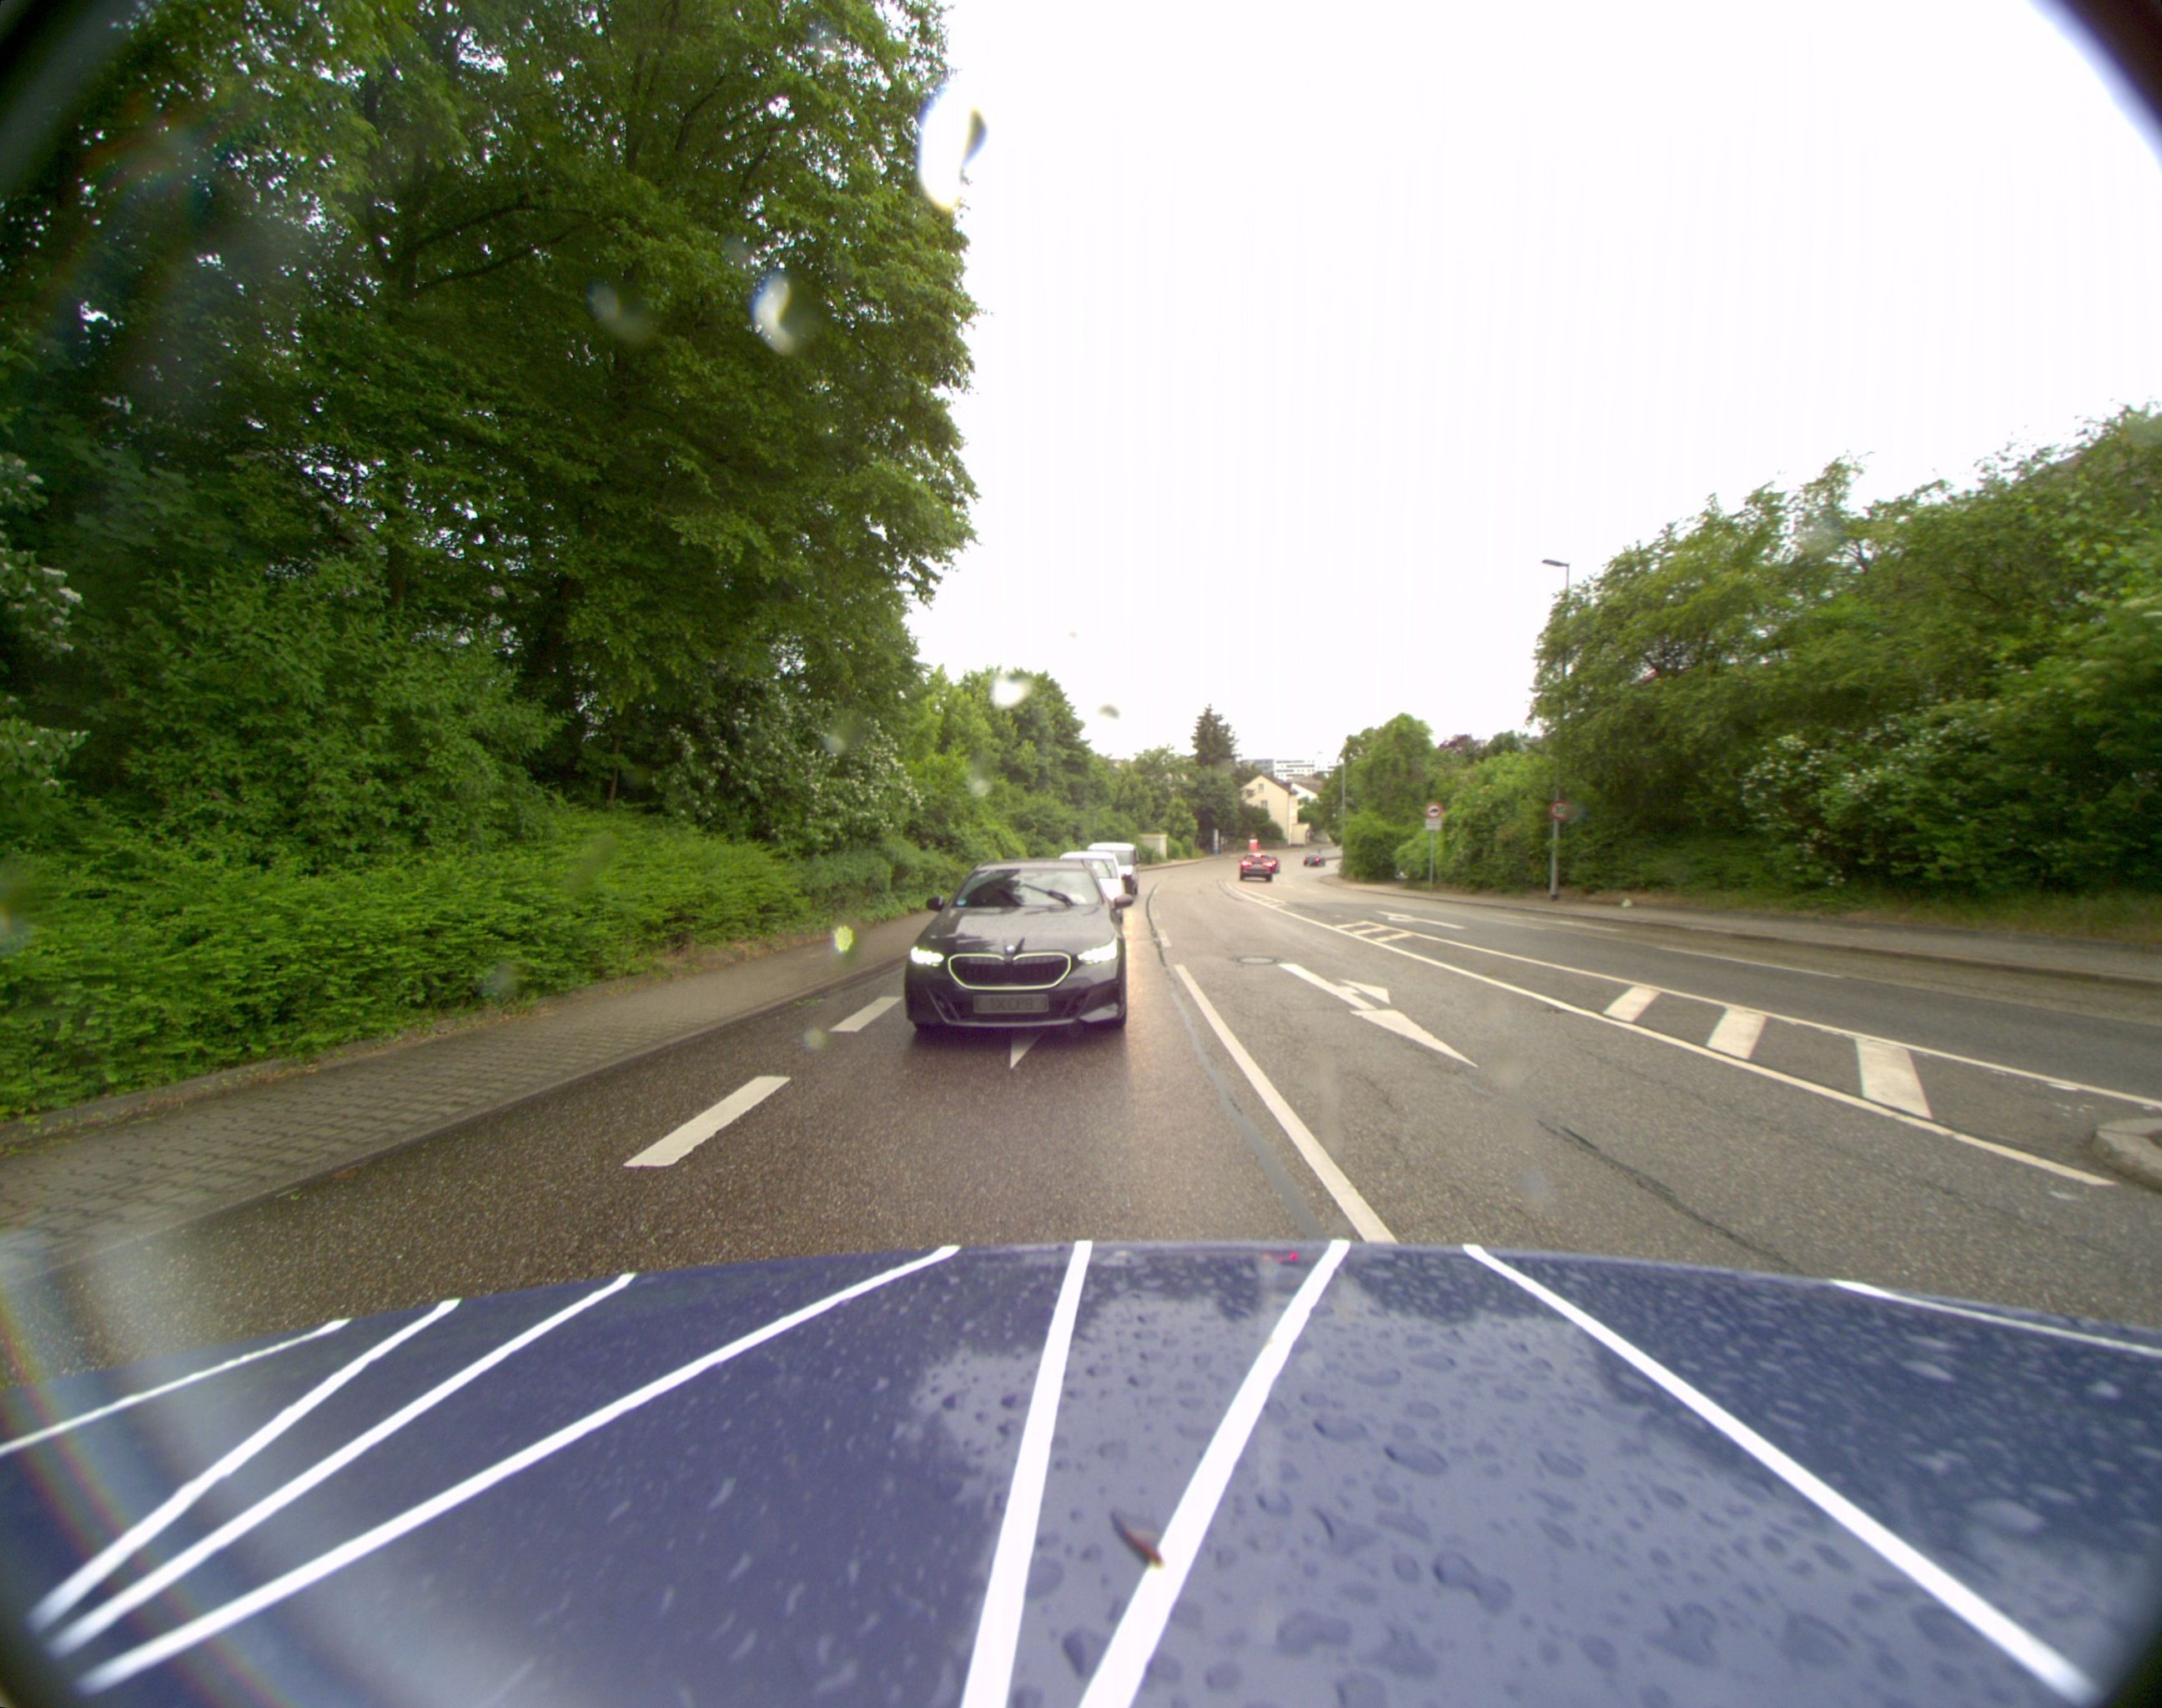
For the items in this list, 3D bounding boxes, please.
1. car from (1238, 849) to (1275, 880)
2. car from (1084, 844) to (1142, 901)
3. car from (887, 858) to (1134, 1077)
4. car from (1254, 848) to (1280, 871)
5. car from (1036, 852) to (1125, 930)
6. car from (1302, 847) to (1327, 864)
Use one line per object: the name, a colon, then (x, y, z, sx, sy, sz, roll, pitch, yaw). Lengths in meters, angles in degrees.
car: (11.119, 0.609, 48.441, 1.959, 1.835, 4.003, 2, 1, 9)
car: (1.160, 0.543, 26.082, 1.814, 1.797, 4.120, 0, 1, 4)
car: (-0.504, 0.873, 7.822, 1.867, 1.547, 4.118, 0, 1, 1)
car: (16.747, 0.486, 68.352, 2.129, 2.002, 4.091, 0, 0, 16)
car: (0.097, 0.750, 17.668, 1.814, 1.547, 4.120, 0, 1, 3)
car: (27.153, 0.210, 88.224, 1.994, 1.903, 4.008, 0, 0, 30)
